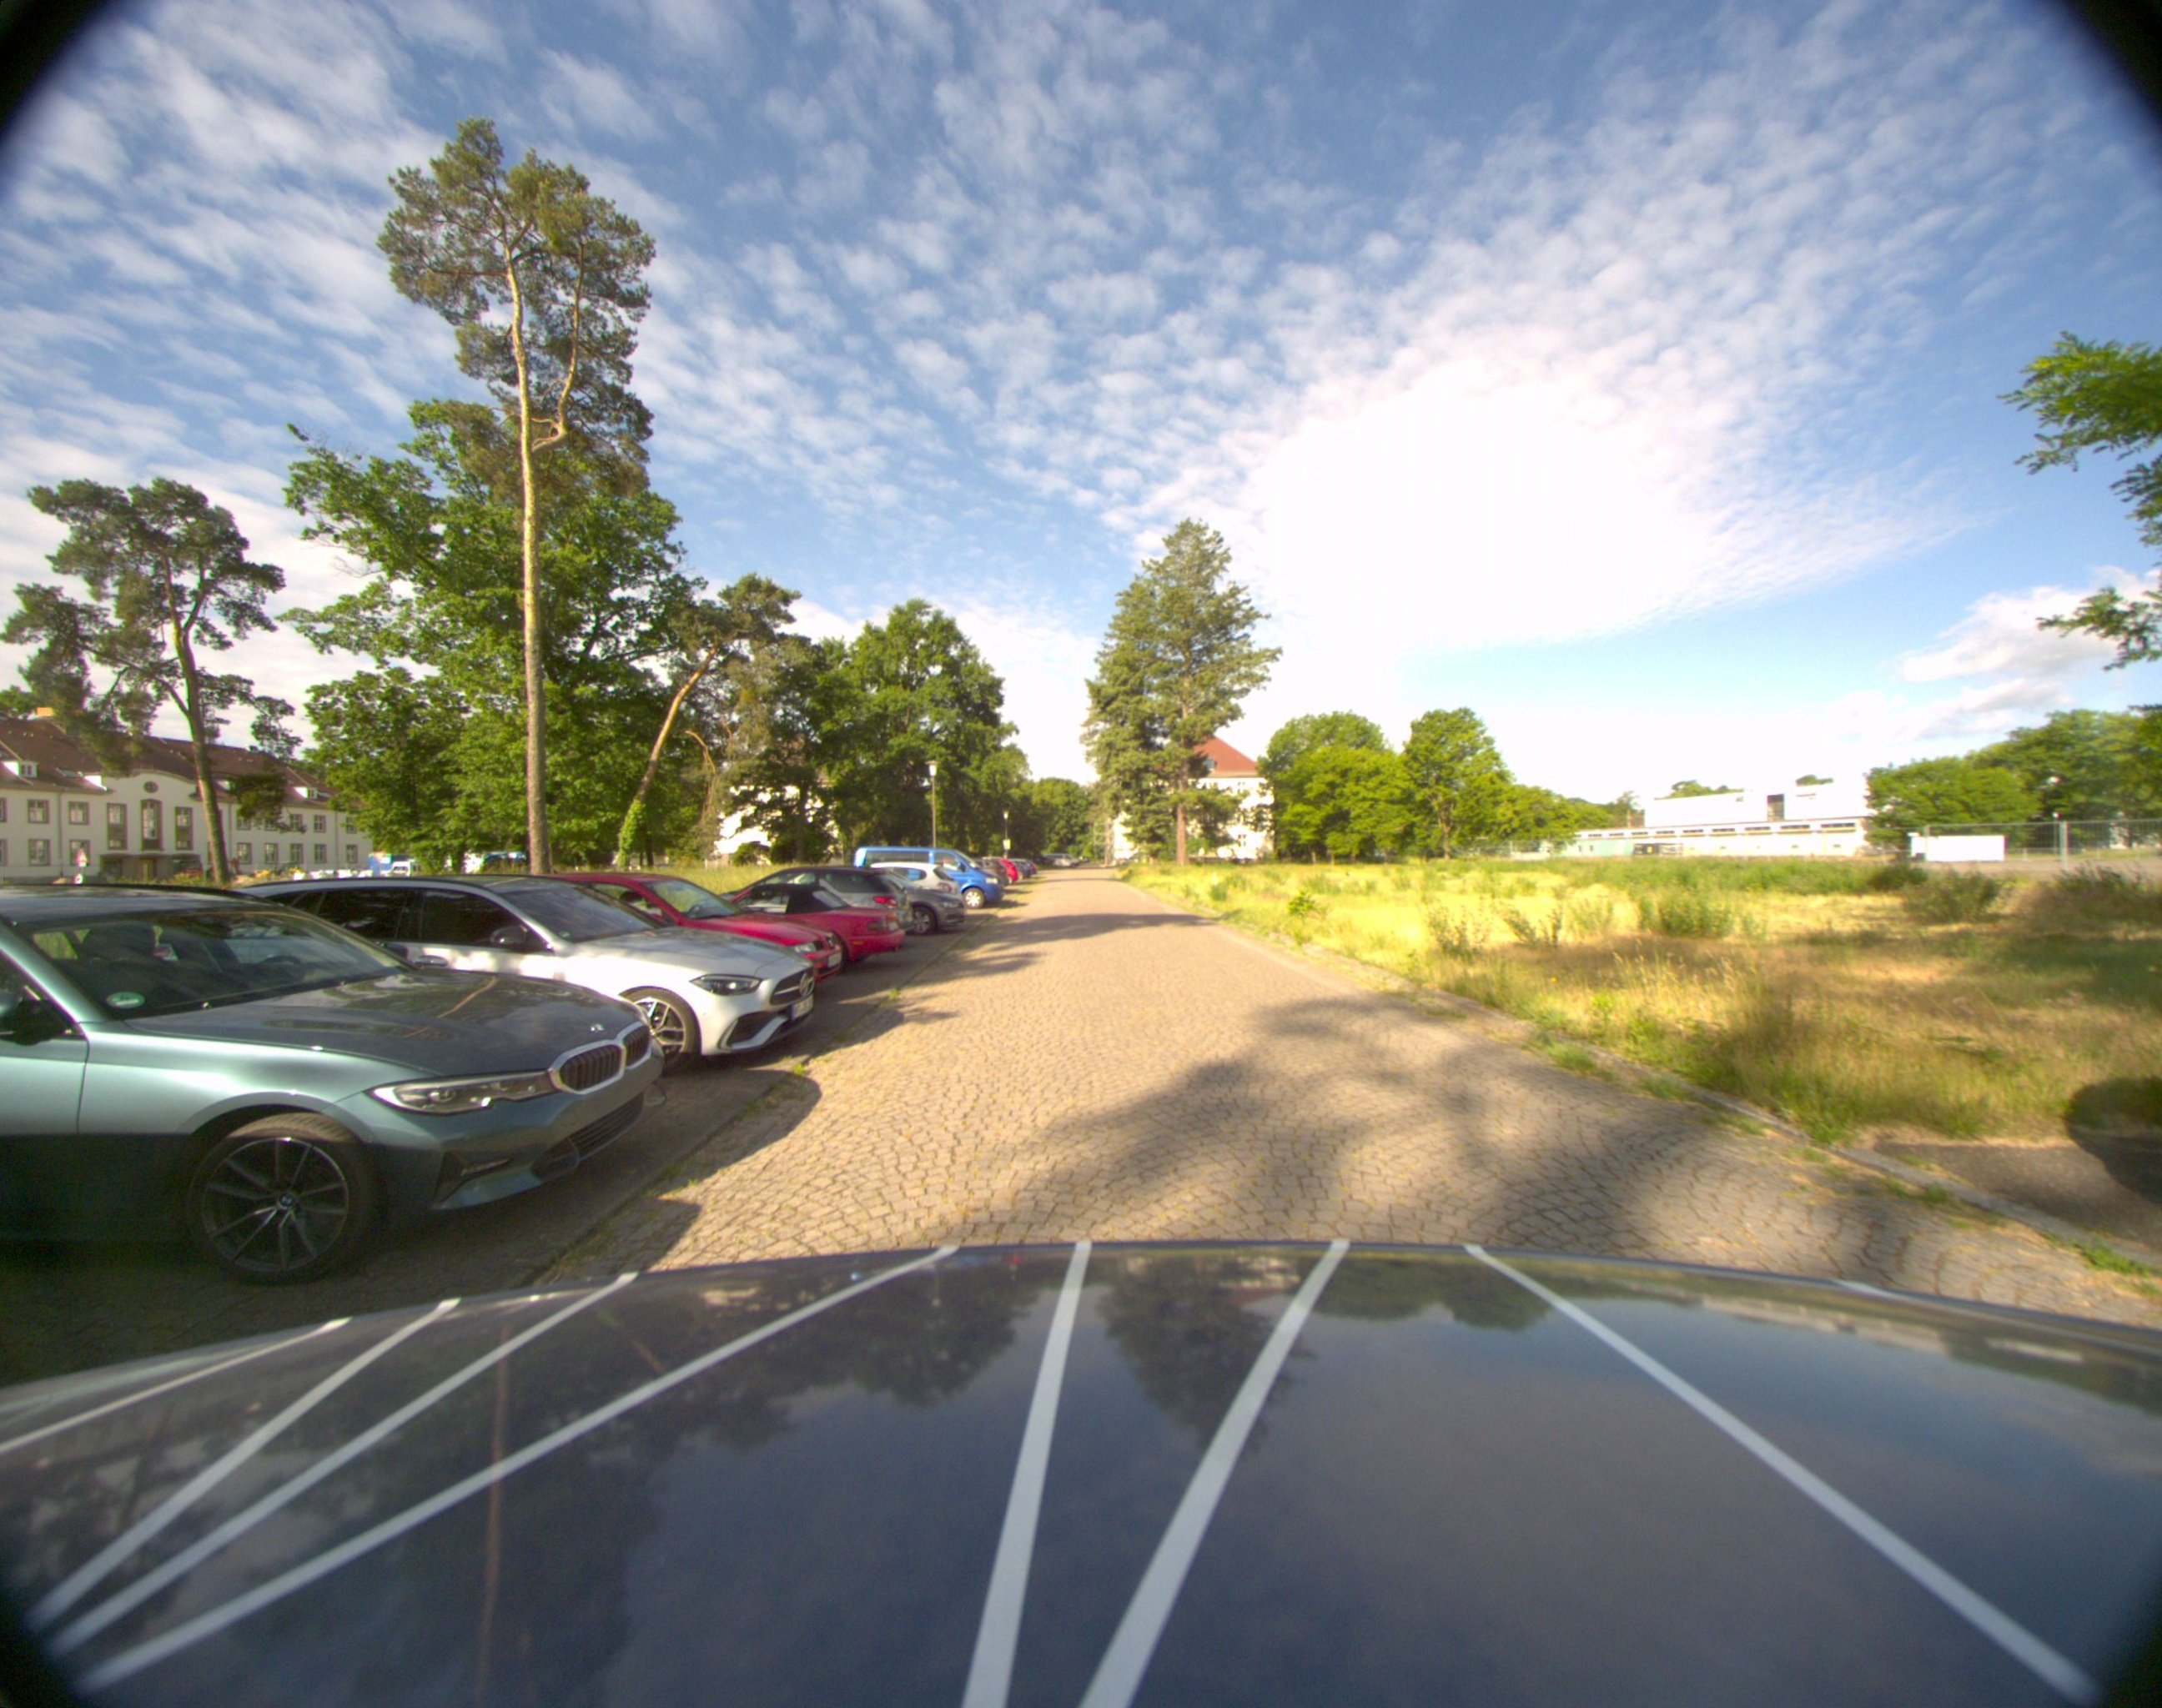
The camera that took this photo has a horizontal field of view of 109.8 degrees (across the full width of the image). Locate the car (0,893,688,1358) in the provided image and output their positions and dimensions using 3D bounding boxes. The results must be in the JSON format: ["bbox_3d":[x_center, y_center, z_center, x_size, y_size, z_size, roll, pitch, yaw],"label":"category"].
[{"bbox_3d":[-4.545,0.983,3.479,4.507,1.508,1.825,0,0,-4],"label":"car"}]

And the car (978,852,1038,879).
[{"bbox_3d":[-5.172,0.826,54.113,3.996,1.731,1.757,-2,0,2],"label":"car"}]

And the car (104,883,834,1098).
[{"bbox_3d":[-4.530,0.995,6.203,4.423,1.394,1.826,1,0,-2],"label":"car"}]

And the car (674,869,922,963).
[{"bbox_3d":[-4.874,1.049,13.447,3.779,1.482,1.549,-1,1,-1],"label":"car"}]

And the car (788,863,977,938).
[{"bbox_3d":[-4.222,0.978,16.402,3.621,1.482,1.509,-1,1,9],"label":"car"}]

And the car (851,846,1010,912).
[{"bbox_3d":[-4.778,0.766,24.634,4.726,2.002,2.000,-1,1,1],"label":"car"}]

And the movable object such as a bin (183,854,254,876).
[{"bbox_3d":[-91.511,1.125,80.730,1.999,2.309,4.985,-1,0,-4],"label":"movable object such as a bin"}]

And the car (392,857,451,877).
[{"bbox_3d":[-69.415,1.349,80.066,1.998,2.002,4.772,-1,0,0],"label":"car"}]

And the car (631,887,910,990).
[{"bbox_3d":[-4.262,1.147,10.774,3.357,1.248,1.419,-1,1,-1],"label":"car"}]

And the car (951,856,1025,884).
[{"bbox_3d":[-5.333,0.903,43.924,3.996,1.509,1.757,-1,1,2],"label":"car"}]

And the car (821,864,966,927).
[{"bbox_3d":[-4.676,1.028,19.253,3.264,1.482,1.449,-1,1,2],"label":"car"}]

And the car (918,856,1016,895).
[{"bbox_3d":[-4.966,0.917,33.568,3.996,1.630,1.757,-1,1,2],"label":"car"}]

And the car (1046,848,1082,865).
[{"bbox_3d":[-2.417,0.338,107.595,5.068,2.251,2.000,-1,1,-1],"label":"car"}]

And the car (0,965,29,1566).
[{"bbox_3d":[-4.619,1.008,0.904,4.026,1.452,1.870,0,1,-1],"label":"car"}]

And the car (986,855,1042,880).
[{"bbox_3d":[-5.191,1.052,58.904,3.996,1.605,1.757,-4,1,4],"label":"car"}]

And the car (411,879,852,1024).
[{"bbox_3d":[-4.763,1.013,8.488,3.918,1.385,1.660,0,1,-1],"label":"car"}]
